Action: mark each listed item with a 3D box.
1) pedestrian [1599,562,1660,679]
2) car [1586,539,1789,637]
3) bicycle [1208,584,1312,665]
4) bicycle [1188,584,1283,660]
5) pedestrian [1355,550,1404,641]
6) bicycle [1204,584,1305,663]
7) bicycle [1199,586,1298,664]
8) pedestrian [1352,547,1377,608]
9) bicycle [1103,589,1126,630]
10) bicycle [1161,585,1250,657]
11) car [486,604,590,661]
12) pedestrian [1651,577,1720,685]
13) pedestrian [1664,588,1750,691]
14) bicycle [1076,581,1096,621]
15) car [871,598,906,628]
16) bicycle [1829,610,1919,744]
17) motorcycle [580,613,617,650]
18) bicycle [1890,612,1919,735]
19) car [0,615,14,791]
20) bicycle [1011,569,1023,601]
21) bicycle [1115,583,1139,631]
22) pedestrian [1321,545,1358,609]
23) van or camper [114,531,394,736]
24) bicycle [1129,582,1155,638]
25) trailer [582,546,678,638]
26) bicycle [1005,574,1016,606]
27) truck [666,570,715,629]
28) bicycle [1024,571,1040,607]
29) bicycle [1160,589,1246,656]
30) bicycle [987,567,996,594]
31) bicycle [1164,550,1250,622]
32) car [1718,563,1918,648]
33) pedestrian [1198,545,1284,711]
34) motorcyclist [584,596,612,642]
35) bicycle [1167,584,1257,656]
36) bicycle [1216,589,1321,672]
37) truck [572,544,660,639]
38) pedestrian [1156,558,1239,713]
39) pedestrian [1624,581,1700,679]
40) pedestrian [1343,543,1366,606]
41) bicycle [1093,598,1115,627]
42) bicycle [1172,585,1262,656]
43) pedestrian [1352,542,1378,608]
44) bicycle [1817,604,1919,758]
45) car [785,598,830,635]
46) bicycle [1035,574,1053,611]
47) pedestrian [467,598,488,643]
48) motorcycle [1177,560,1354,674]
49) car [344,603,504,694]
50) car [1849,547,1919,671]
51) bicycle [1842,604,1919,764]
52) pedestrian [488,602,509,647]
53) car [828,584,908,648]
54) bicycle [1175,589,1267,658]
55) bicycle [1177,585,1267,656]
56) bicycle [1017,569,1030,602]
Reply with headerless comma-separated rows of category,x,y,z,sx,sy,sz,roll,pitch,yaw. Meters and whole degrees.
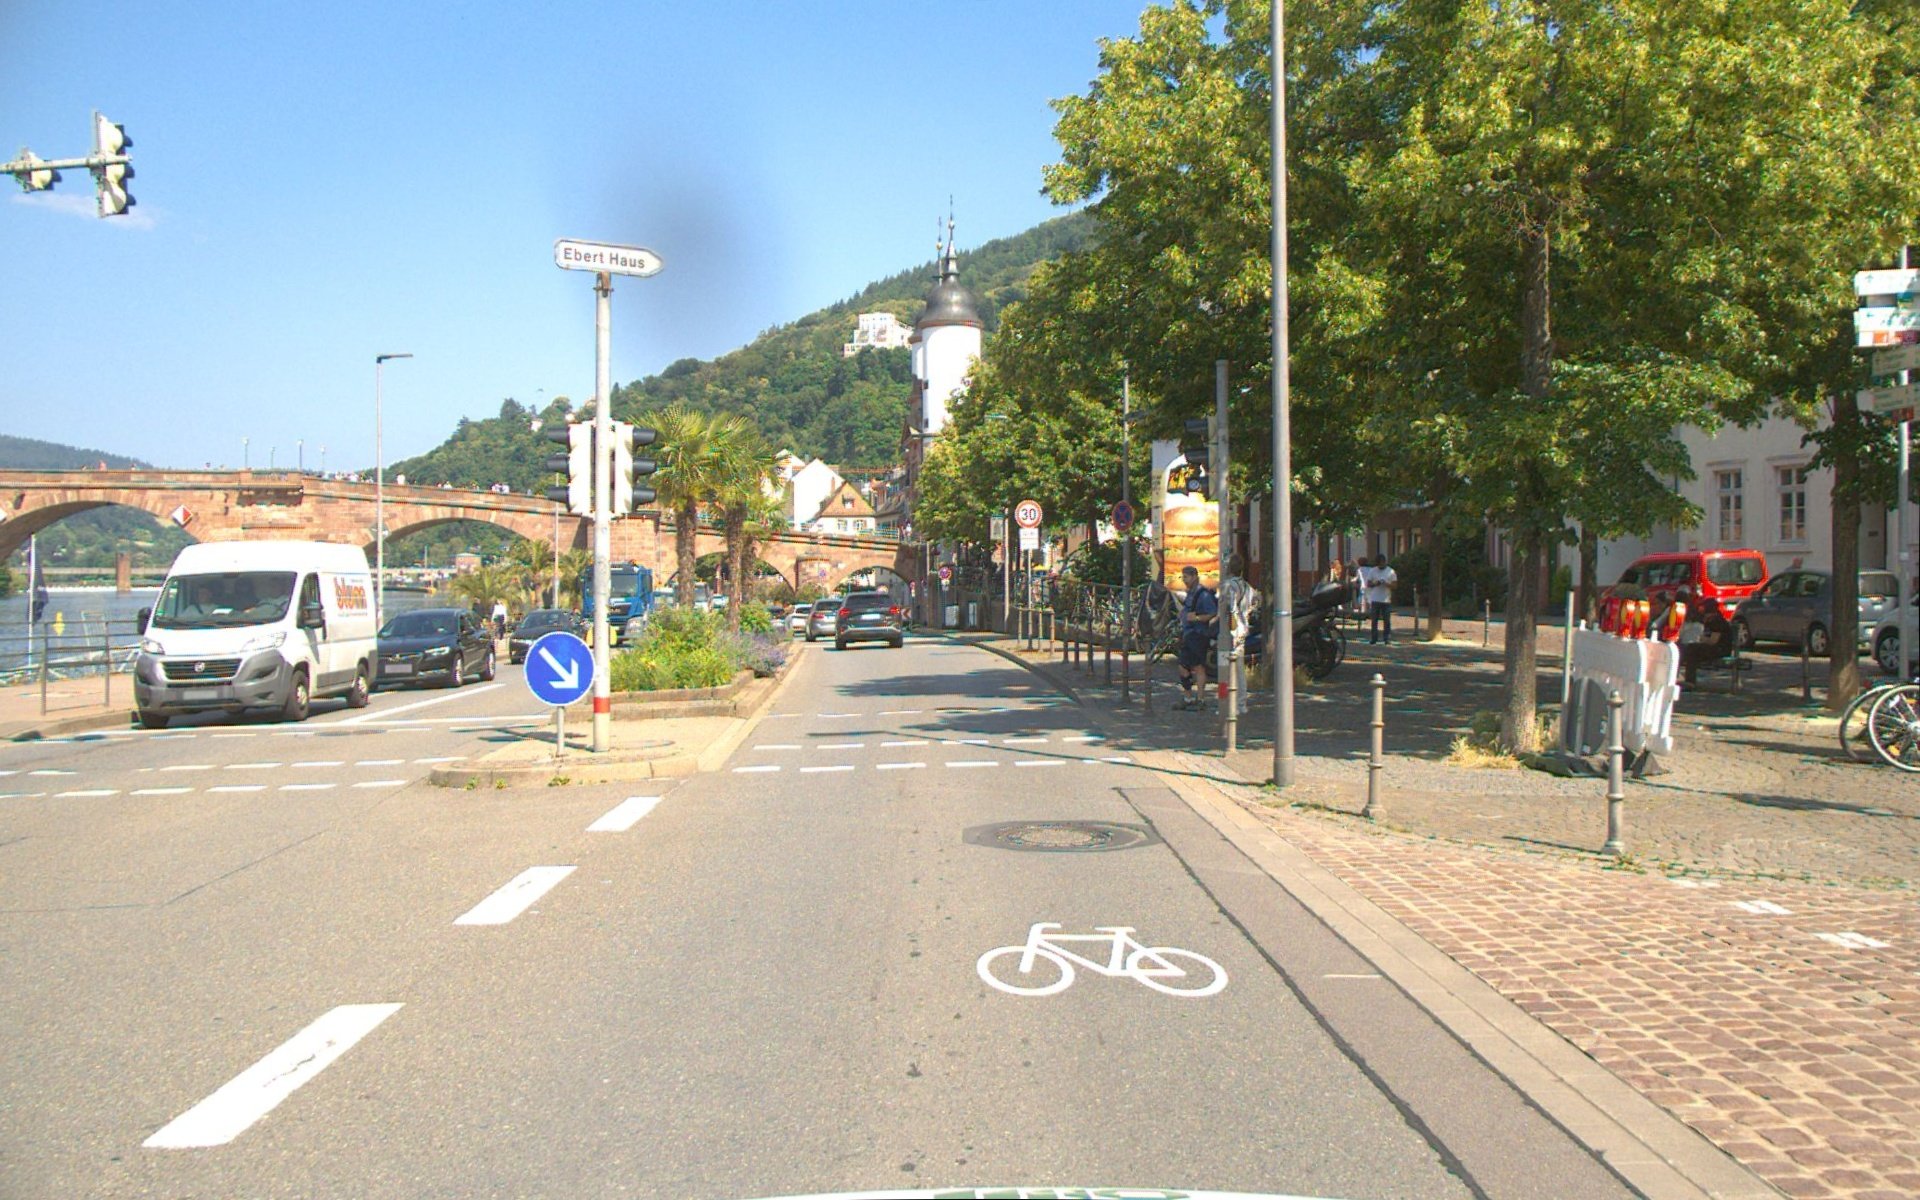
pedestrian,9.003,0.272,22.255,0.451,1.543,0.688,1,0,-12
car,15.433,-0.286,35.387,1.955,1.935,4.628,-1,1,-6
bicycle,4.435,0.355,24.451,1.456,1.139,0.377,-2,0,-10
bicycle,4.340,0.347,26.067,1.456,1.139,0.250,-2,0,-10
pedestrian,7.926,-0.087,31.262,0.693,1.682,0.706,-1,1,-4
bicycle,4.444,0.351,24.950,1.456,1.139,0.293,-2,0,-10
bicycle,4.402,0.376,25.245,1.456,1.139,0.293,-2,0,-10
pedestrian,12.556,-0.690,51.316,0.574,1.872,0.596,-1,1,-5
bicycle,3.543,0.213,37.958,0.245,0.920,1.487,-1,0,-5
bicycle,4.204,0.356,28.312,1.457,1.139,0.250,-3,1,-10
car,-11.725,0.890,46.224,1.913,1.437,4.216,-3,-1,-2
pedestrian,9.627,0.404,21.960,0.615,1.406,0.540,1,0,-12
pedestrian,9.532,0.487,21.119,0.681,1.274,0.762,-1,1,-12
bicycle,3.238,0.014,42.543,0.245,1.017,1.487,1,0,-5
car,-4.090,0.719,94.708,1.684,1.624,3.895,-1,1,2
bicycle,8.448,0.656,14.962,0.581,1.086,2.067,-1,0,15
motorcycle,-12.050,1.045,55.178,0.742,1.151,2.455,-1,1,-2
bicycle,8.917,0.671,14.748,0.581,1.086,2.067,-1,0,15
car,-8.701,0.924,11.412,1.914,1.433,4.566,-3,1,-4
bicycle,2.005,-0.525,57.996,0.245,1.115,1.487,1,0,-4
bicycle,3.667,0.151,36.375,0.245,1.028,1.487,-1,0,-5
pedestrian,11.788,-0.710,51.425,0.949,1.948,0.747,-1,0,-3
van or camper,-9.793,0.416,23.499,1.955,2.492,5.488,-2,0,-5
bicycle,3.821,0.197,34.843,0.245,1.139,1.487,-1,0,-5
trailer,-13.265,-0.368,67.113,2.605,3.462,8.820,-1,1,-4
bicycle,1.837,-0.366,60.078,0.245,1.115,1.487,1,0,-4
truck,-16.378,-0.084,100.688,2.607,3.462,5.128,-1,1,-6
bicycle,2.336,-0.354,53.681,0.270,1.115,1.487,-5,1,-4
bicycle,4.196,0.387,28.612,1.456,1.139,0.250,-1,0,-10
bicycle,1.302,-0.813,68.676,0.348,1.115,1.489,1,0,2
bicycle,5.331,-0.298,35.726,1.794,1.509,0.285,-1,0,-6
car,15.757,0.077,30.577,1.642,1.457,3.467,-1,0,-6
pedestrian,3.165,0.304,18.683,0.681,1.802,0.762,-2,1,-12
motorcyclist,-12.039,0.620,55.076,0.721,1.496,1.011,-1,0,-3
bicycle,4.270,0.336,28.039,1.457,1.139,0.250,-3,1,-10
bicycle,4.492,0.439,24.072,1.455,1.139,0.294,-2,0,-6
truck,-12.982,-0.343,62.749,2.605,3.462,4.447,-1,1,-4
pedestrian,2.724,0.392,19.021,0.681,1.706,0.762,-2,1,-12
pedestrian,9.624,0.403,22.684,0.615,1.304,0.752,1,0,-12
pedestrian,13.012,-0.851,54.578,0.574,2.049,0.596,-1,0,-5
bicycle,3.435,0.290,39.508,0.245,0.675,1.467,-1,1,-5
bicycle,4.325,0.333,27.822,1.456,1.139,0.250,-2,0,-10
pedestrian,12.779,-0.799,52.161,0.622,2.049,0.644,-1,1,-4
bicycle,8.188,0.671,13.572,1.969,1.219,0.522,1,1,8
car,-7.173,0.764,78.056,1.954,1.580,4.829,-1,1,-4
bicycle,2.539,-0.230,50.118,0.339,1.115,1.487,1,0,-4
pedestrian,-19.599,0.819,67.209,0.748,1.811,0.694,0,1,-12
motorcycle,4.174,0.240,22.700,2.253,1.490,0.761,-2,0,37
car,-10.293,0.867,32.143,1.783,1.481,4.925,-3,1,-4
car,14.495,0.135,22.814,1.734,1.759,4.564,0,1,-4
bicycle,8.134,0.684,13.065,1.956,1.219,0.522,2,1,8
pedestrian,-18.790,0.983,67.333,0.748,1.811,0.694,0,1,-12
car,-2.565,0.396,45.290,1.890,1.580,4.825,-1,1,-7
bicycle,4.278,0.379,27.093,1.456,1.065,0.250,-2,0,-10
bicycle,4.376,0.338,27.607,1.456,1.139,0.250,-2,0,-10
bicycle,2.140,-0.489,56.075,0.245,1.115,1.487,1,0,-4
